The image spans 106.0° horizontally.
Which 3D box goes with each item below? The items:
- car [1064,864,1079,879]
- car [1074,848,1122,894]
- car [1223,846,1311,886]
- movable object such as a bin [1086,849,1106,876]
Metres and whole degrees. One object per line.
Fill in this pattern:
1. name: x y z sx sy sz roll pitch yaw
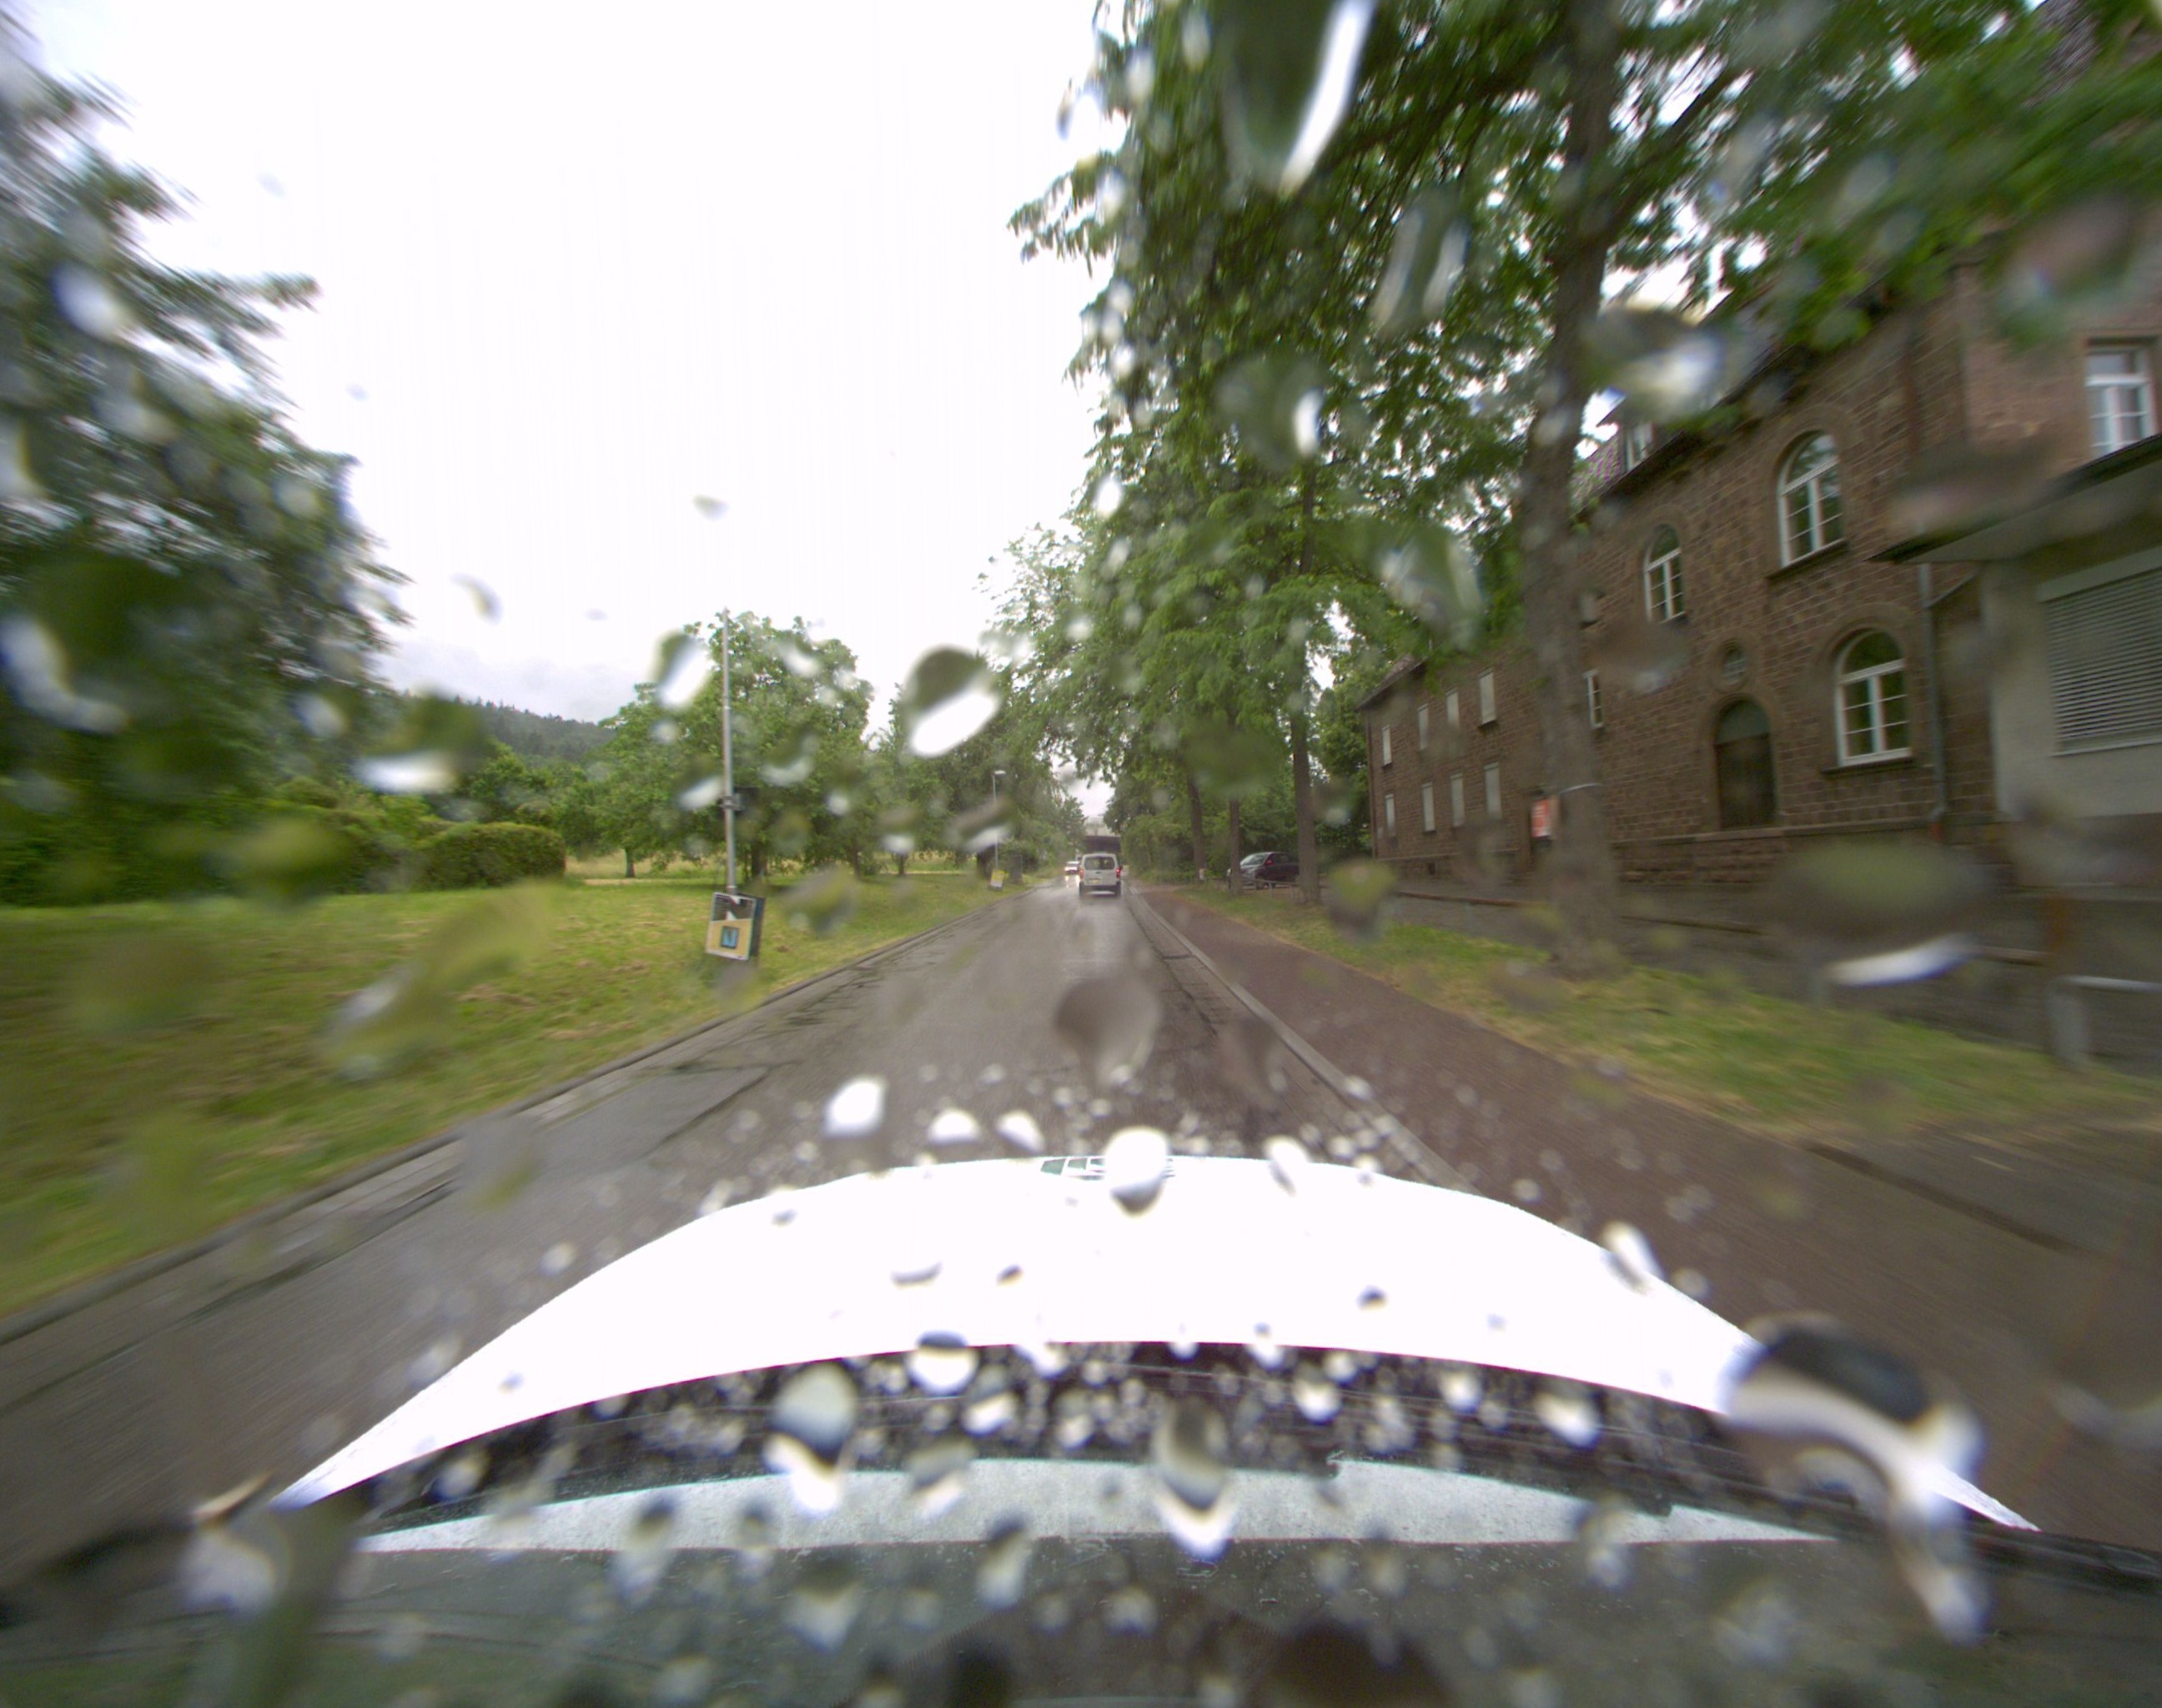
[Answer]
1. car: -1.235 2.246 106.140 1.818 1.832 4.306 -1 -1 0
2. car: 0.782 0.727 35.978 1.889 1.807 4.002 -3 0 2
3. car: 8.001 0.515 34.978 3.628 1.551 1.604 -1 -2 -35
4. movable object such as a bin: 1.498 0.861 80.153 1.753 2.548 4.243 -1 -1 4
